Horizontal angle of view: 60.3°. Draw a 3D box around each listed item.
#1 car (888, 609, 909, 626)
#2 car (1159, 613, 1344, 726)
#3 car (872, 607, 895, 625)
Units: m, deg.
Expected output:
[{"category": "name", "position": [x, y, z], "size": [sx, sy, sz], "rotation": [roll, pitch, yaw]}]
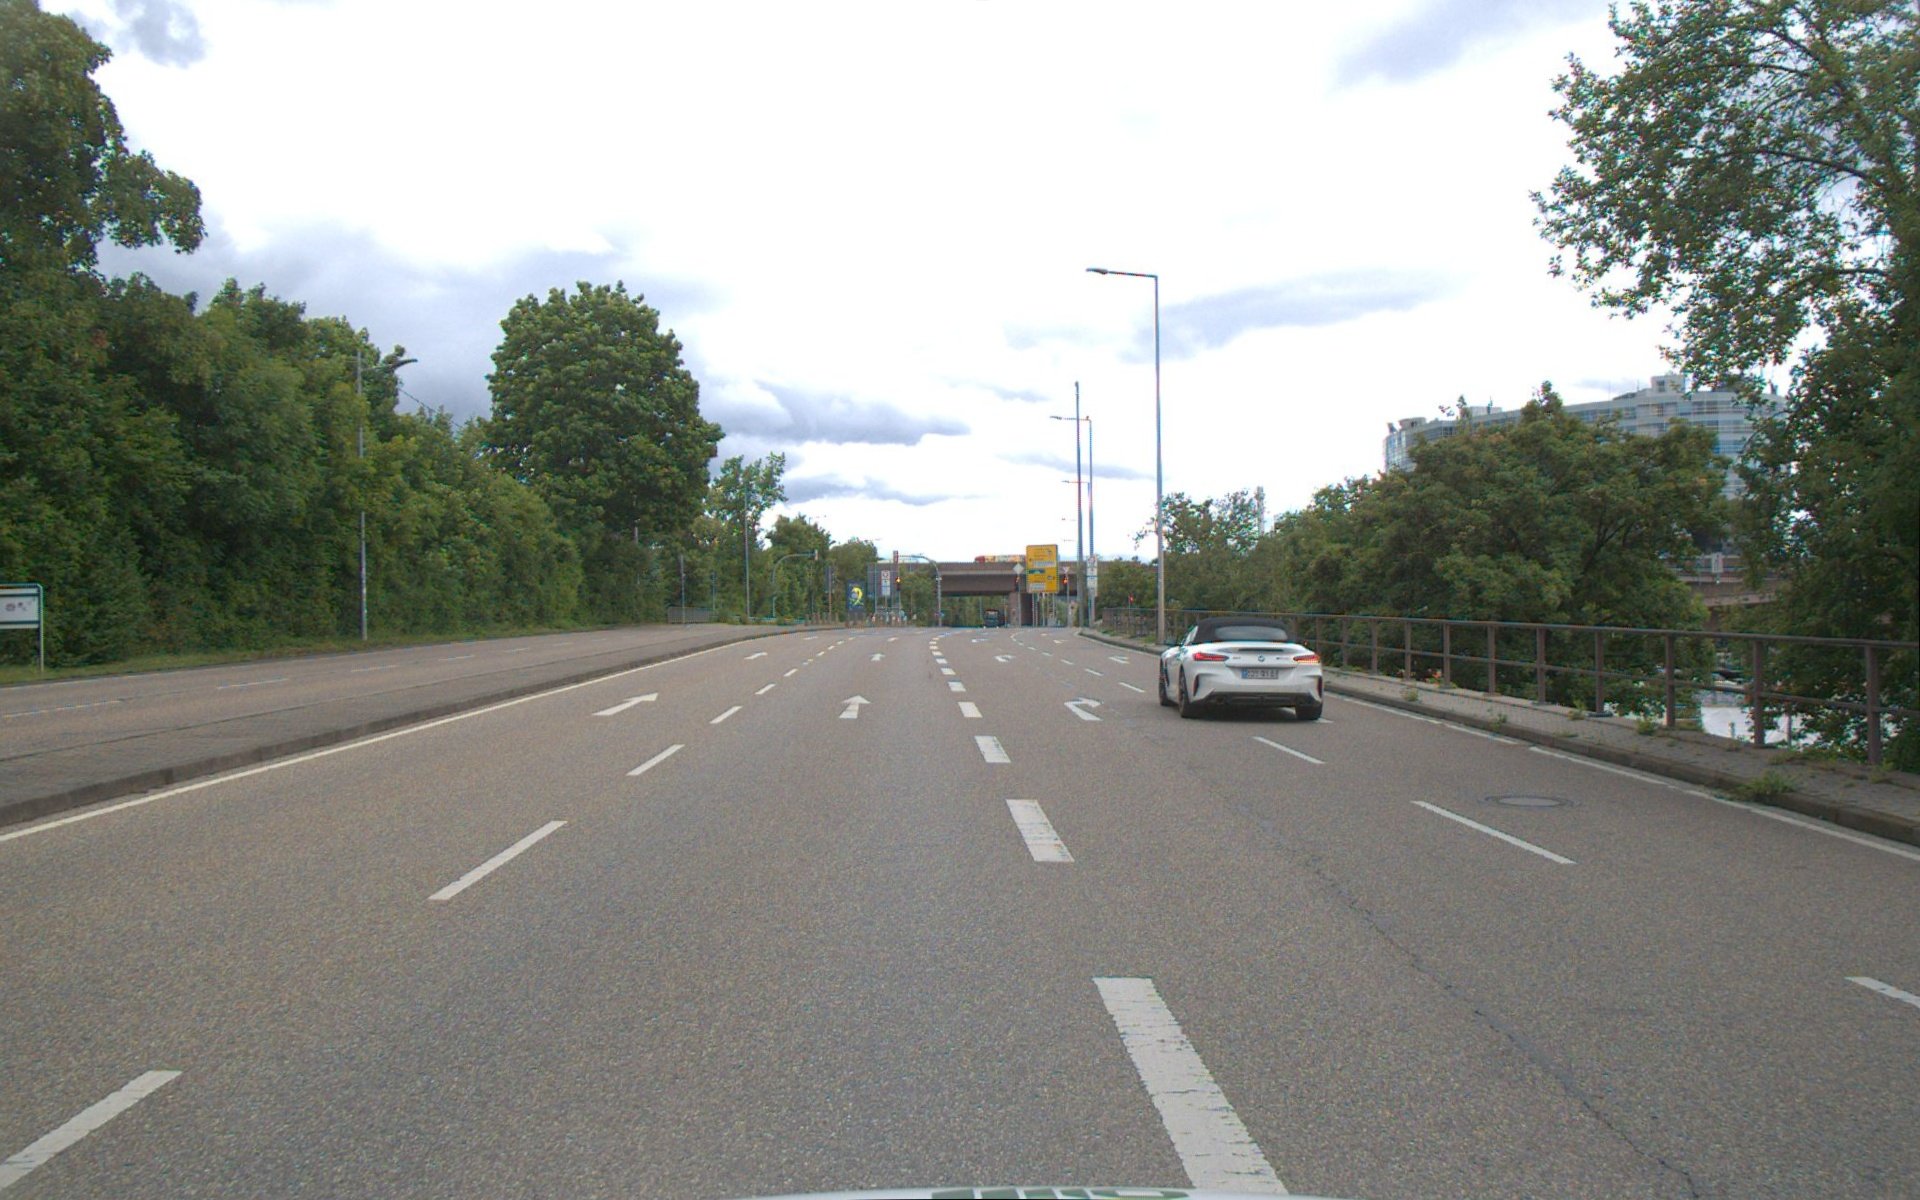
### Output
[{"category": "car", "position": [-5.999, 1.719, 162.055], "size": [1.735, 1.661, 3.825], "rotation": [1, -1, 1]}, {"category": "car", "position": [3.889, 0.886, 22.703], "size": [1.836, 1.332, 3.873], "rotation": [2, 0, 0]}, {"category": "car", "position": [-7.016, 1.478, 152.060], "size": [1.735, 1.674, 3.825], "rotation": [1, -1, 1]}]
